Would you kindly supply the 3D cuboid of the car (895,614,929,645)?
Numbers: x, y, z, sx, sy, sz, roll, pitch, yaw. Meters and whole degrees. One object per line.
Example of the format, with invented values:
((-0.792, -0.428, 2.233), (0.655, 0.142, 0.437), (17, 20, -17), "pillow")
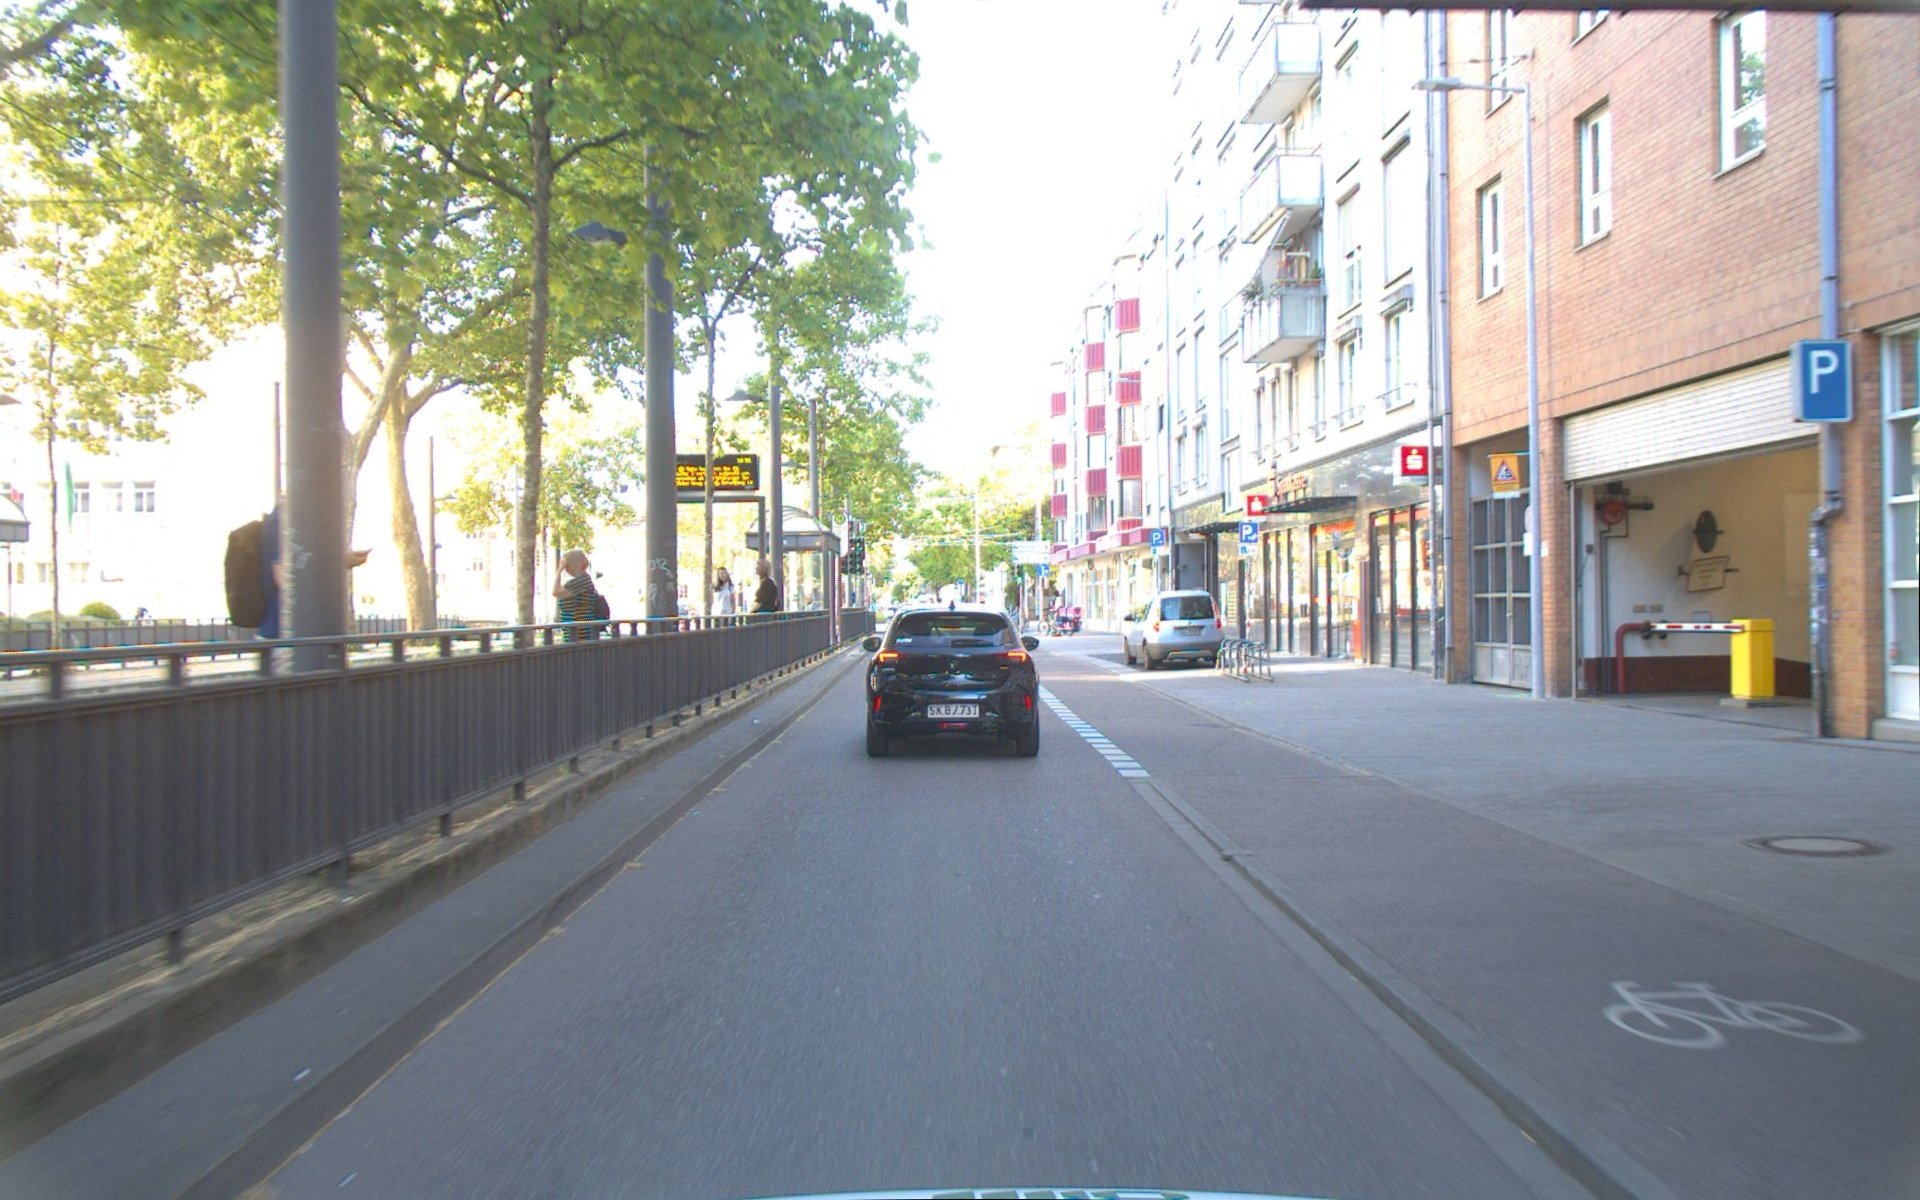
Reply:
((-2.619, 1.592, 90.203), (1.795, 1.651, 4.283), (0, 0, -1), "car")

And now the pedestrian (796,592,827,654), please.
((-3.260, 0.512, 36.409), (0.613, 1.342, 0.801), (-1, 0, -1), "pedestrian")

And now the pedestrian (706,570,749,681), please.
((-4.024, 0.441, 28.682), (0.632, 1.904, 0.753), (0, -1, -1), "pedestrian")

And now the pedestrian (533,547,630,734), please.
((-3.589, 0.373, 15.726), (0.714, 1.732, 0.863), (0, 0, 0), "pedestrian")

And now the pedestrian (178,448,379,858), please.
((-3.215, 0.234, 7.869), (0.693, 1.833, 0.825), (0, 0, -9), "pedestrian")

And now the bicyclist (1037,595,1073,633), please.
((3.996, 0.588, 69.480), (1.050, 1.567, 1.063), (0, -1, -41), "bicyclist")

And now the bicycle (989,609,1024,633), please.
((2.365, 1.062, 83.834), (1.764, 1.220, 0.546), (-1, -2, 2), "bicycle")

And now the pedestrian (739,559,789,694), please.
((-2.833, 0.384, 23.922), (0.633, 1.920, 0.661), (-1, 0, -2), "pedestrian")

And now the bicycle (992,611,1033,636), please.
((2.575, 1.156, 81.546), (1.939, 1.220, 0.590), (-1, -1, -7), "bicycle")

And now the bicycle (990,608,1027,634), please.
((2.421, 1.049, 82.518), (1.793, 1.242, 0.496), (-1, -1, 1), "bicycle")

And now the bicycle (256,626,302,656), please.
((-25.001, 1.484, 60.757), (0.784, 1.014, 2.583), (1, 0, -4), "bicycle")

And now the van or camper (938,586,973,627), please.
((-0.416, 0.550, 138.114), (2.328, 3.179, 7.546), (-3, 0, -3), "van or camper")

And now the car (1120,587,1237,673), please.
((4.669, 0.626, 35.900), (1.796, 1.651, 4.283), (-3, 0, -1), "car")

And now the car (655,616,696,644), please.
((-21.222, 2.230, 123.415), (1.951, 1.982, 4.426), (-1, 0, 4), "car")

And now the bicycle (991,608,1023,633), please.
((2.357, 1.048, 83.087), (1.589, 1.220, 0.496), (-1, -1, 2), "bicycle")

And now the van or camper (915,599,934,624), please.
((-4.535, 1.461, 211.636), (2.436, 3.046, 5.432), (1, -1, -1), "van or camper")

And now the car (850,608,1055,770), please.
((-0.104, 0.822, 17.247), (1.866, 1.450, 4.214), (-1, 0, -1), "car")

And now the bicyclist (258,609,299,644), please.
((-25.012, 0.962, 60.722), (0.984, 1.272, 1.373), (1, 0, -4), "bicyclist")

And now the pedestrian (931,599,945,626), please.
((-1.669, 0.927, 124.310), (1.015, 2.059, 1.212), (0, -1, -3), "pedestrian")

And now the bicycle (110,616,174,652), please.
((-24.634, 1.021, 49.854), (0.784, 1.014, 2.583), (1, 0, -4), "bicycle")

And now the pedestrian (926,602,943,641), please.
((-1.185, 0.995, 76.644), (0.719, 1.777, 0.712), (0, 0, 3), "pedestrian")

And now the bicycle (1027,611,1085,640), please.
((4.025, 1.070, 69.448), (0.955, 1.204, 2.559), (0, -1, -41), "bicycle")

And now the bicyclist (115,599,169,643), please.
((-24.635, 0.628, 49.823), (0.984, 1.272, 1.373), (1, 0, -4), "bicyclist")

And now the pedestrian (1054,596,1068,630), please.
((5.605, 0.730, 91.816), (0.708, 1.890, 0.800), (-1, -1, -3), "pedestrian")

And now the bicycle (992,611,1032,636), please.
((2.557, 1.137, 80.903), (1.902, 1.191, 0.571), (-1, -1, -5), "bicycle")

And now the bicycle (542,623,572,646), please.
((-17.536, 1.514, 71.973), (0.796, 0.962, 1.726), (-1, 0, 4), "bicycle")
